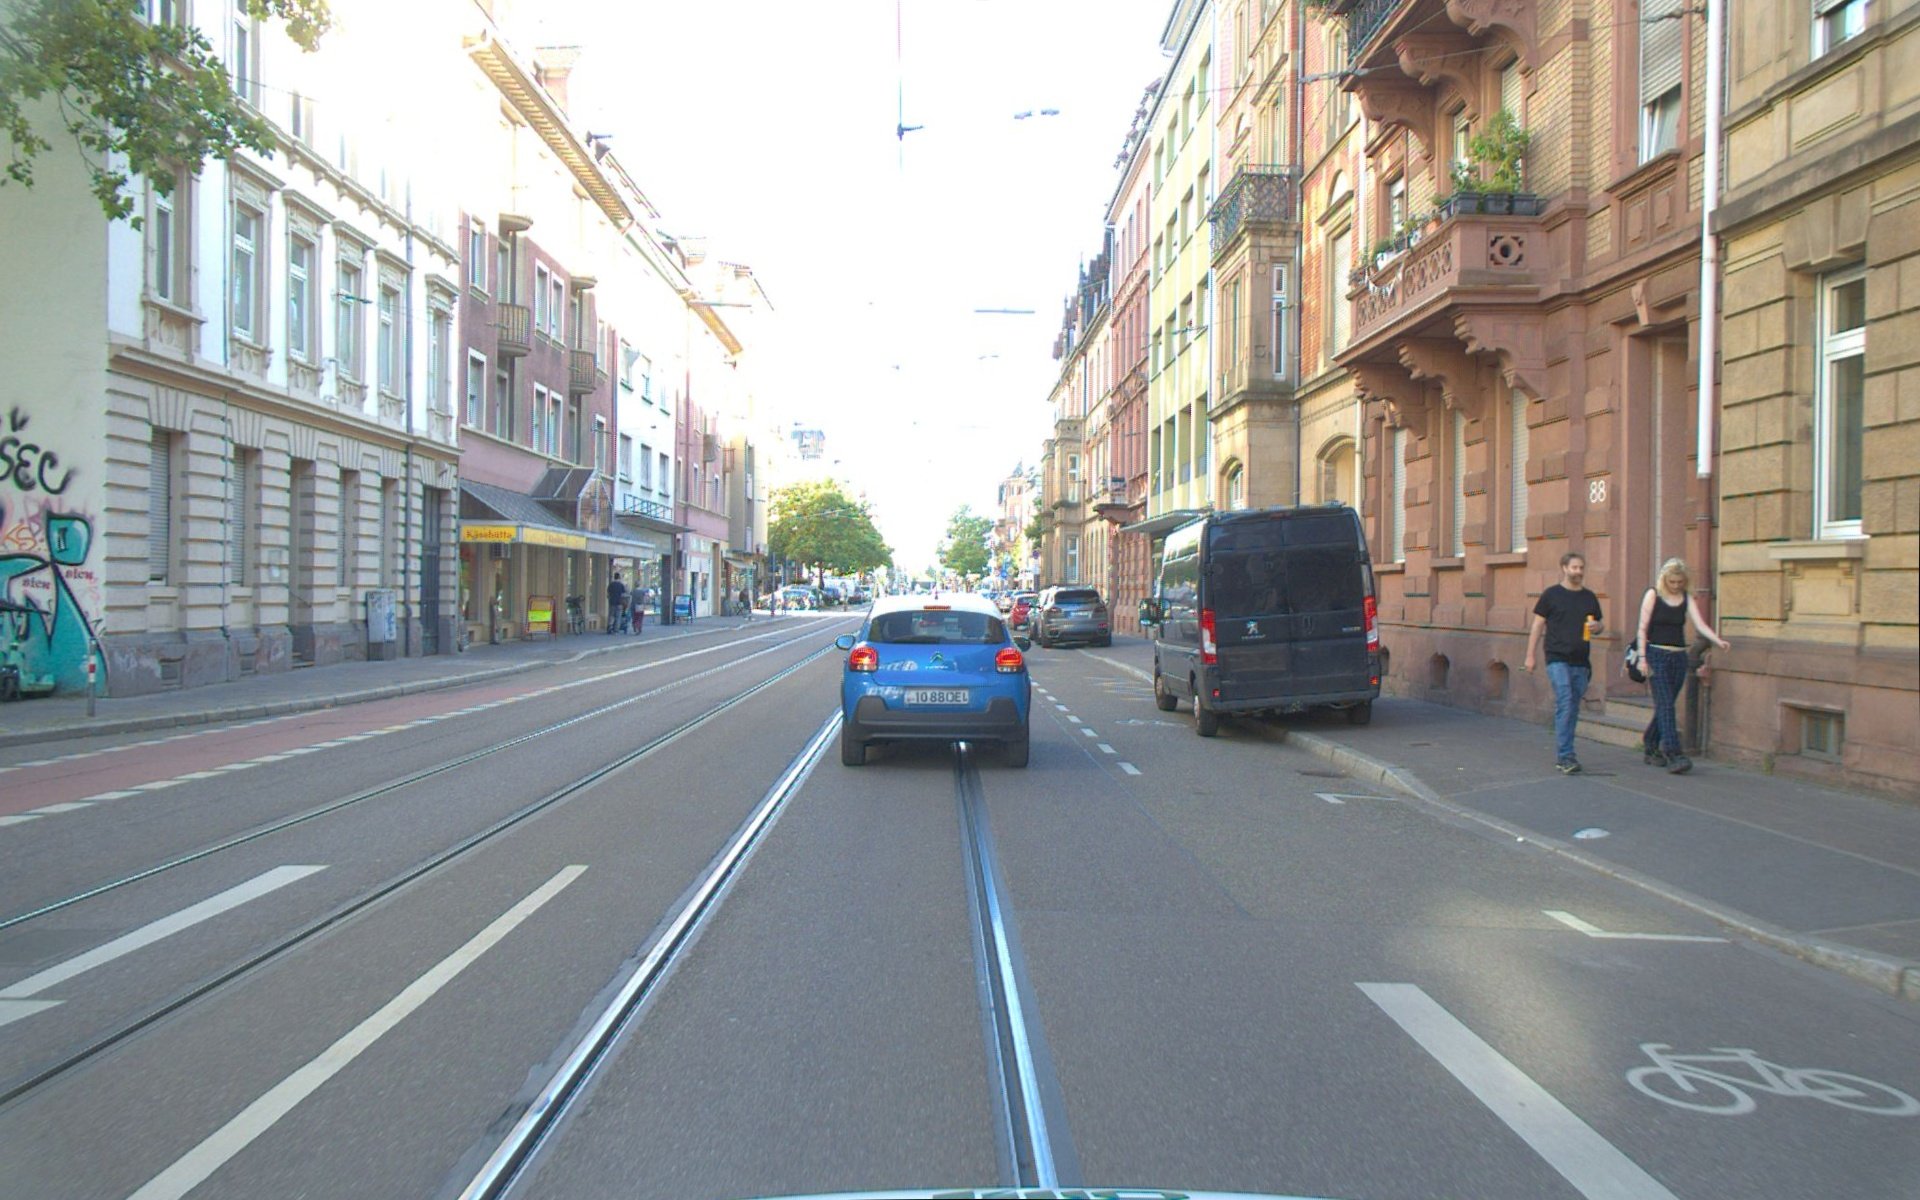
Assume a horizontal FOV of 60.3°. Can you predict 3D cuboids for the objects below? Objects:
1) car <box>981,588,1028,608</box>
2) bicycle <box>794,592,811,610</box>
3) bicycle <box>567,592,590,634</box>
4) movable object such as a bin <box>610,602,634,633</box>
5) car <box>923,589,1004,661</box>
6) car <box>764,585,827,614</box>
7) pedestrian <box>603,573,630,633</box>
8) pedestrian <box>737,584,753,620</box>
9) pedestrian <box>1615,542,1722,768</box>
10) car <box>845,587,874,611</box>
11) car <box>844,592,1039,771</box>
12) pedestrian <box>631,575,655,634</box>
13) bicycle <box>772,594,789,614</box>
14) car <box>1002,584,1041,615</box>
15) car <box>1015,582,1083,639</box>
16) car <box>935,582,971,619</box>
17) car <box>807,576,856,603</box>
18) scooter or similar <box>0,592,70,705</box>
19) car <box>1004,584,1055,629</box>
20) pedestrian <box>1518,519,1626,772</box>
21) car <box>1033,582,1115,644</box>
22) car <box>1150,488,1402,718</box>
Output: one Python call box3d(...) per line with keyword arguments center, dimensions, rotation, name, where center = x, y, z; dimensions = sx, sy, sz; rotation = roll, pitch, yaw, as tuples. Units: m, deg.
box3d(center=(3.675, -0.185, 137.745), dimensions=(3.760, 1.646, 1.790), rotation=(0, 0, -4), name="car")
box3d(center=(-10.705, 0.075, 112.213), dimensions=(1.099, 1.166, 3.639), rotation=(0, 0, -7), name="bicycle")
box3d(center=(-11.225, 0.370, 48.642), dimensions=(0.610, 1.180, 2.057), rotation=(0, 0, -14), name="bicycle")
box3d(center=(-10.469, 0.542, 51.196), dimensions=(0.598, 0.930, 0.695), rotation=(0, 0, -1), name="movable object such as a bin")
box3d(center=(0.031, 0.509, 36.306), dimensions=(1.633, 1.504, 3.998), rotation=(0, 0, -2), name="car")
box3d(center=(-11.800, -0.030, 118.876), dimensions=(4.219, 2.052, 2.210), rotation=(0, 0, 0), name="car")
box3d(center=(-10.479, 0.091, 50.491), dimensions=(0.696, 1.795, 0.570), rotation=(0, 0, -3), name="pedestrian")
box3d(center=(-10.097, 0.092, 77.750), dimensions=(0.671, 1.667, 0.674), rotation=(0, 0, -2), name="pedestrian")
box3d(center=(5.857, 0.442, 13.692), dimensions=(0.542, 1.813, 0.606), rotation=(-2, 0, -3), name="pedestrian")
box3d(center=(-7.294, -0.075, 120.224), dimensions=(1.953, 1.680, 3.998), rotation=(0, 0, -2), name="car")
box3d(center=(-0.192, 0.677, 15.938), dimensions=(1.640, 1.503, 3.999), rotation=(0, 0, -1), name="car")
box3d(center=(-9.689, 0.145, 50.568), dimensions=(0.697, 1.795, 0.653), rotation=(0, 0, -10), name="pedestrian")
box3d(center=(-12.170, 0.267, 112.103), dimensions=(1.099, 1.342, 3.639), rotation=(0, 0, -7), name="bicycle")
box3d(center=(3.579, -0.039, 96.862), dimensions=(1.965, 1.701, 4.390), rotation=(-2, 0, -1), name="car")
box3d(center=(2.854, 0.310, 54.006), dimensions=(1.867, 1.788, 3.998), rotation=(0, 0, -2), name="car")
box3d(center=(-0.433, 0.010, 95.800), dimensions=(1.953, 2.049, 3.998), rotation=(0, 0, -2), name="car")
box3d(center=(-12.473, -0.988, 160.855), dimensions=(4.257, 2.626, 2.190), rotation=(0, 0, -27), name="car")
box3d(center=(-11.707, 0.579, 20.482), dimensions=(0.772, 1.294, 1.074), rotation=(3, 2, -2), name="scooter or similar")
box3d(center=(3.004, 0.244, 72.358), dimensions=(1.965, 1.701, 4.391), rotation=(-1, 2, -1), name="car")
box3d(center=(5.101, 0.367, 13.816), dimensions=(0.573, 2.049, 0.823), rotation=(0, 0, -2), name="pedestrian")
box3d(center=(3.256, 0.339, 48.086), dimensions=(1.965, 1.701, 4.804), rotation=(0, 0, -1), name="car")
box3d(center=(3.773, 0.016, 20.910), dimensions=(2.224, 2.479, 5.721), rotation=(1, 0, 2), name="car")
